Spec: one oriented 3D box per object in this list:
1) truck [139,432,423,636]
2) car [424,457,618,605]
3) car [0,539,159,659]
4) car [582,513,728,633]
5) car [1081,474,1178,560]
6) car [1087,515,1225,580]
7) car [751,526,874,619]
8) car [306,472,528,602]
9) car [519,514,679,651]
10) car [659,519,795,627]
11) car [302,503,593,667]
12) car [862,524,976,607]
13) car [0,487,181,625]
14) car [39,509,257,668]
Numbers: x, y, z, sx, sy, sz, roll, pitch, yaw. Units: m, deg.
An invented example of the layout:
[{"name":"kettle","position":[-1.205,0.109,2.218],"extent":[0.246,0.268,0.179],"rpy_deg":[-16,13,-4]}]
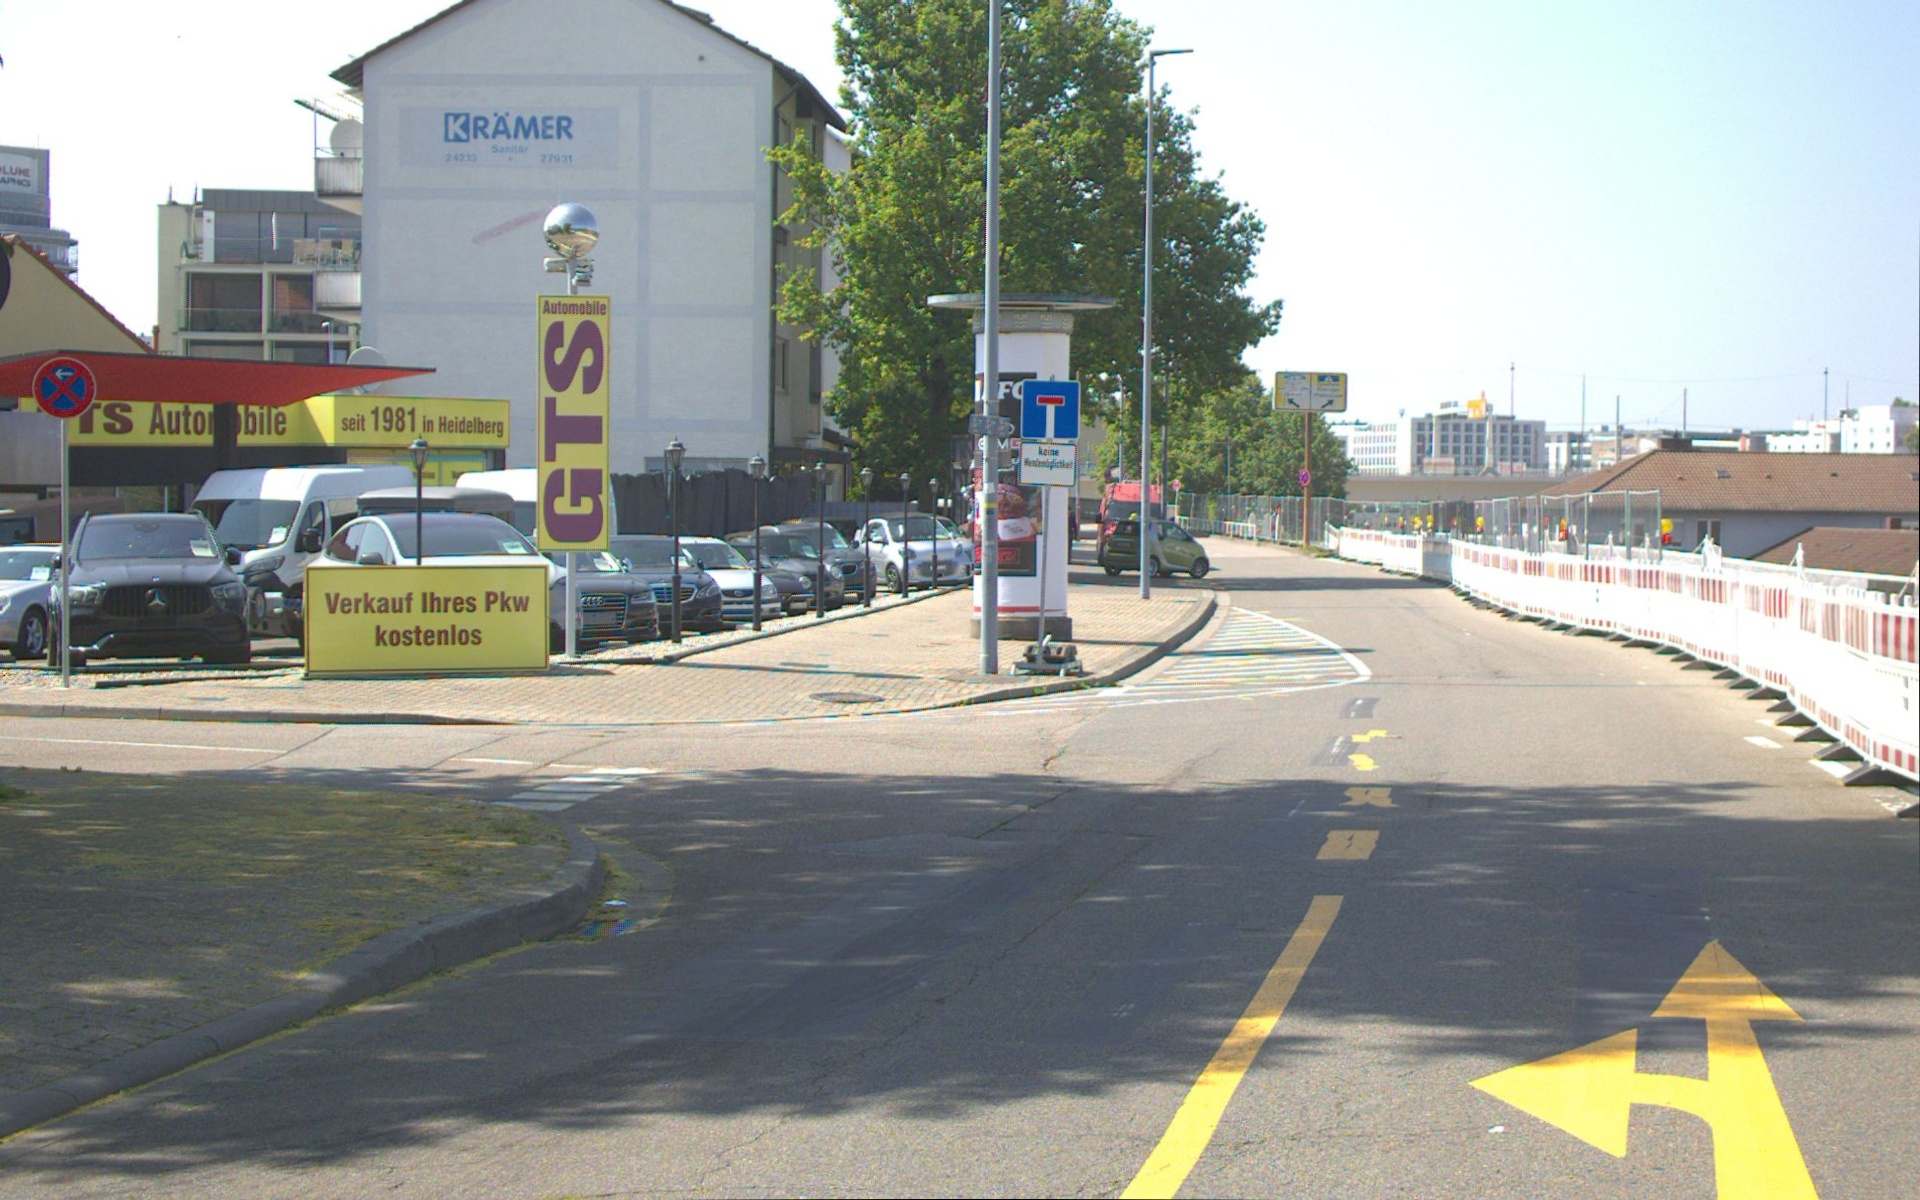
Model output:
[{"name":"truck","position":[-10.370,-1.014,53.050],"extent":[2.270,2.894,5.941],"rpy_deg":[2,1,9]},{"name":"car","position":[-7.107,-1.130,56.125],"extent":[2.136,2.276,4.710],"rpy_deg":[1,1,5]},{"name":"car","position":[-12.138,-0.046,44.411],"extent":[1.789,1.482,3.997],"rpy_deg":[2,1,15]},{"name":"car","position":[-4.384,-0.414,48.935],"extent":[1.856,1.623,4.001],"rpy_deg":[1,1,-8]},{"name":"car","position":[5.224,-2.517,105.375],"extent":[2.538,2.511,5.117],"rpy_deg":[2,1,7]},{"name":"car","position":[5.212,-1.380,91.330],"extent":[3.270,1.632,1.726],"rpy_deg":[1,1,-34]},{"name":"car","position":[-2.742,-0.527,63.156],"extent":[1.856,1.623,4.001],"rpy_deg":[1,1,-8]},{"name":"car","position":[-7.847,-0.918,50.130],"extent":[1.878,1.732,4.721],"rpy_deg":[2,1,8]},{"name":"car","position":[-4.591,-0.251,43.314],"extent":[1.856,1.623,4.001],"rpy_deg":[1,1,-8]},{"name":"car","position":[-3.727,-0.458,54.498],"extent":[1.856,1.623,4.001],"rpy_deg":[1,1,-8]},{"name":"car","position":[-5.796,-0.192,38.522],"extent":[1.993,1.719,4.001],"rpy_deg":[1,1,-28]},{"name":"car","position":[-0.875,-0.738,70.976],"extent":[1.856,1.623,4.001],"rpy_deg":[1,1,-8]},{"name":"car","position":[-13.743,-0.675,52.886],"extent":[1.994,2.007,4.494],"rpy_deg":[2,1,7]},{"name":"car","position":[-8.864,-0.149,37.268],"extent":[2.046,1.589,4.425],"rpy_deg":[1,1,-16]}]
